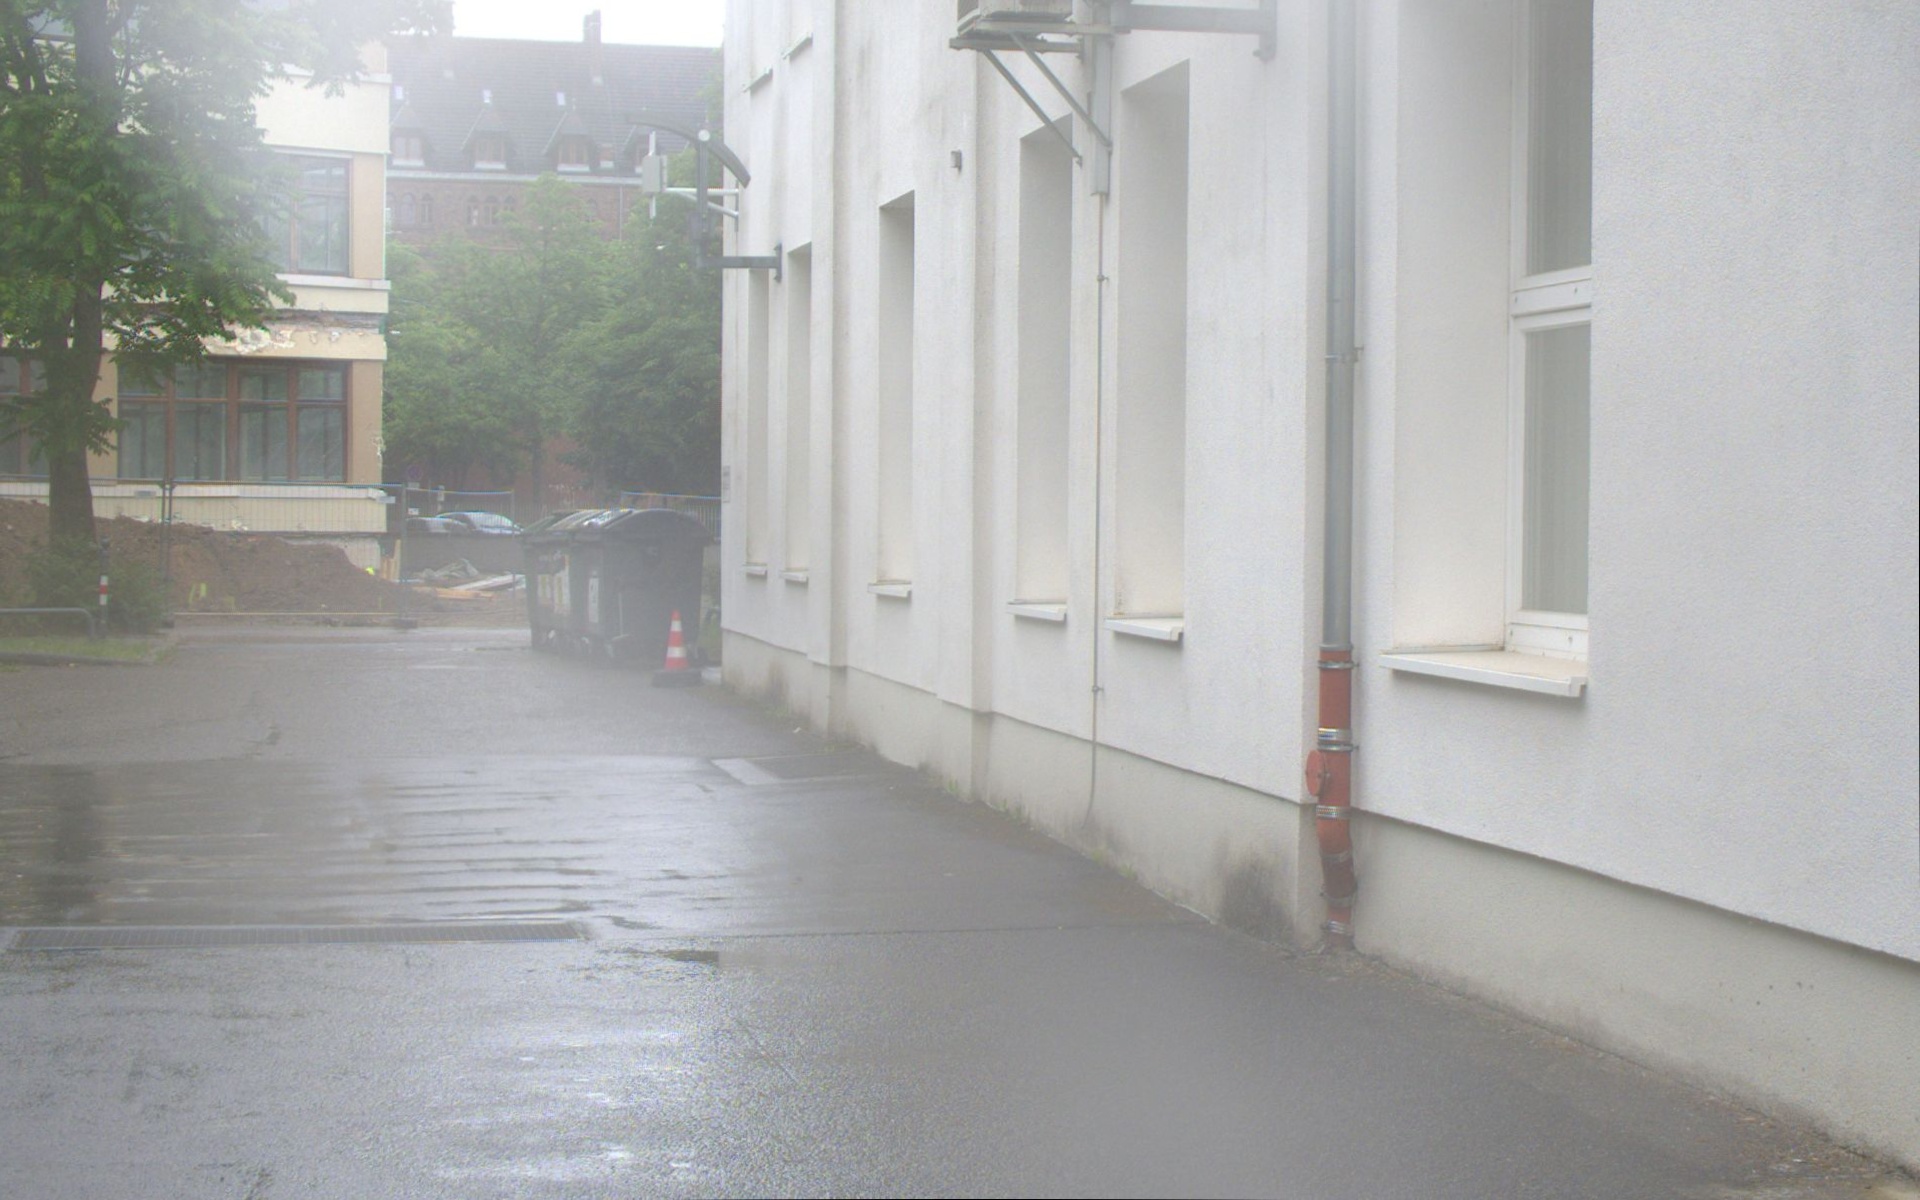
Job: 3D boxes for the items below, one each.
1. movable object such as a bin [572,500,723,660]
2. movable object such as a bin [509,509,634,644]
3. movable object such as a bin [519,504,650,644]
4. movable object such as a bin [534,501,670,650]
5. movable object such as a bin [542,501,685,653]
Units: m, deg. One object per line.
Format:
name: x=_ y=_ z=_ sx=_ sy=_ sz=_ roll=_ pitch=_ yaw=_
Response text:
movable object such as a bin: x=-2.869 y=-0.171 z=31.474 sx=1.214 sy=1.432 sz=1.236 roll=1 pitch=-1 yaw=-13
movable object such as a bin: x=-4.234 y=-0.248 z=37.405 sx=1.214 sy=1.432 sz=1.259 roll=1 pitch=-1 yaw=-13
movable object such as a bin: x=-3.947 y=-0.260 z=36.055 sx=1.214 sy=1.432 sz=1.259 roll=1 pitch=-1 yaw=-13
movable object such as a bin: x=-3.622 y=-0.236 z=34.716 sx=1.214 sy=1.463 sz=1.236 roll=1 pitch=-1 yaw=-13
movable object such as a bin: x=-3.349 y=-0.209 z=33.106 sx=1.214 sy=1.432 sz=1.294 roll=1 pitch=-1 yaw=-13
